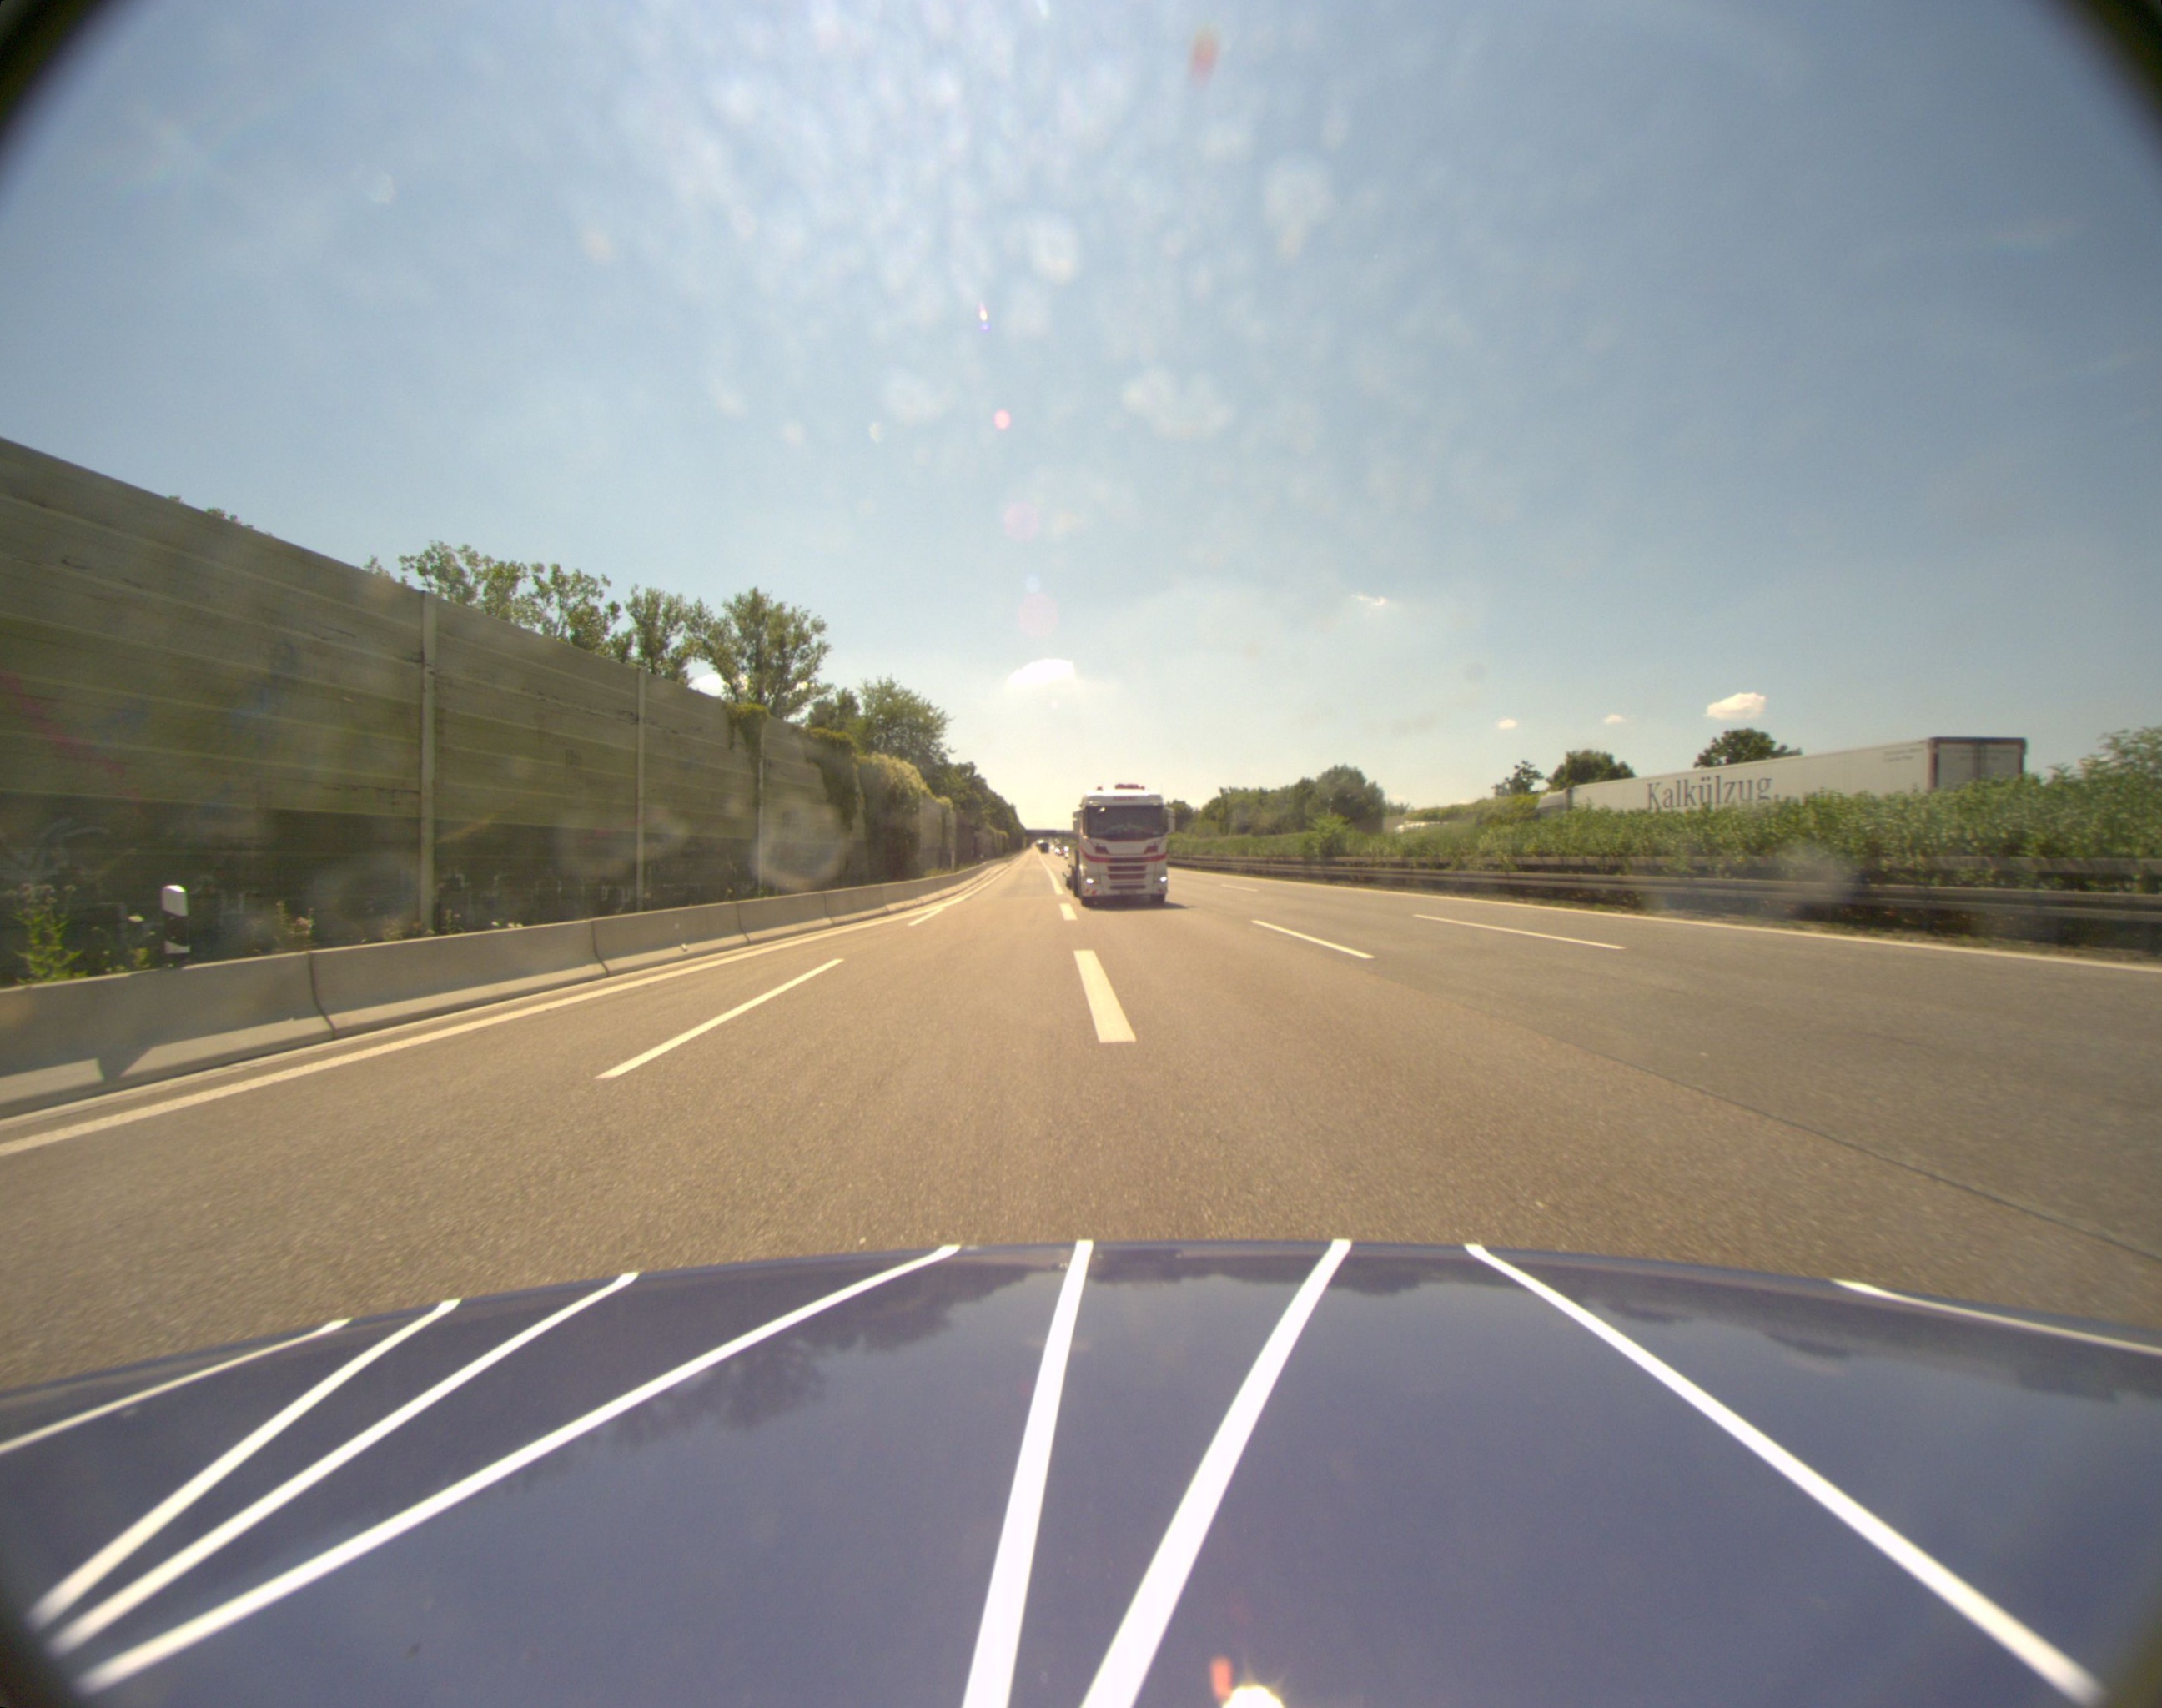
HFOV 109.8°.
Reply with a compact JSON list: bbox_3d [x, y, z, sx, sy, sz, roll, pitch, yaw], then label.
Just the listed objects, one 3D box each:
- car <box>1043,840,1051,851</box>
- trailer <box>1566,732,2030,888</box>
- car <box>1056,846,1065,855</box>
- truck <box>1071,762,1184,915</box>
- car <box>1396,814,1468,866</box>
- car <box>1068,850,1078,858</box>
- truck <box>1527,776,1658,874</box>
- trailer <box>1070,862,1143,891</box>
[{"bbox_3d":[-10.677,-2.708,238.142,2.116,3.283,6.443,-2,-1,-4],"label":"car"},{"bbox_3d":[23.649,-1.201,27.321,2.612,4.109,14.223,-1,0,-3],"label":"trailer"},{"bbox_3d":[-4.908,-0.823,183.547,1.998,1.832,4.001,-2,-1,2],"label":"car"},{"bbox_3d":[1.102,-0.418,24.559,2.721,3.780,10.670,-2,0,-1],"label":"truck"},{"bbox_3d":[19.495,-0.763,42.432,1.999,2.749,3.999,-1,0,-3],"label":"car"},{"bbox_3d":[-1.417,-0.018,140.408,1.786,1.494,4.170,-1,0,-1],"label":"car"},{"bbox_3d":[23.228,-1.244,34.764,2.612,4.132,4.746,-1,1,-3],"label":"truck"},{"bbox_3d":[0.933,0.939,33.788,2.722,0.929,7.758,-2,0,-2],"label":"trailer"}]
